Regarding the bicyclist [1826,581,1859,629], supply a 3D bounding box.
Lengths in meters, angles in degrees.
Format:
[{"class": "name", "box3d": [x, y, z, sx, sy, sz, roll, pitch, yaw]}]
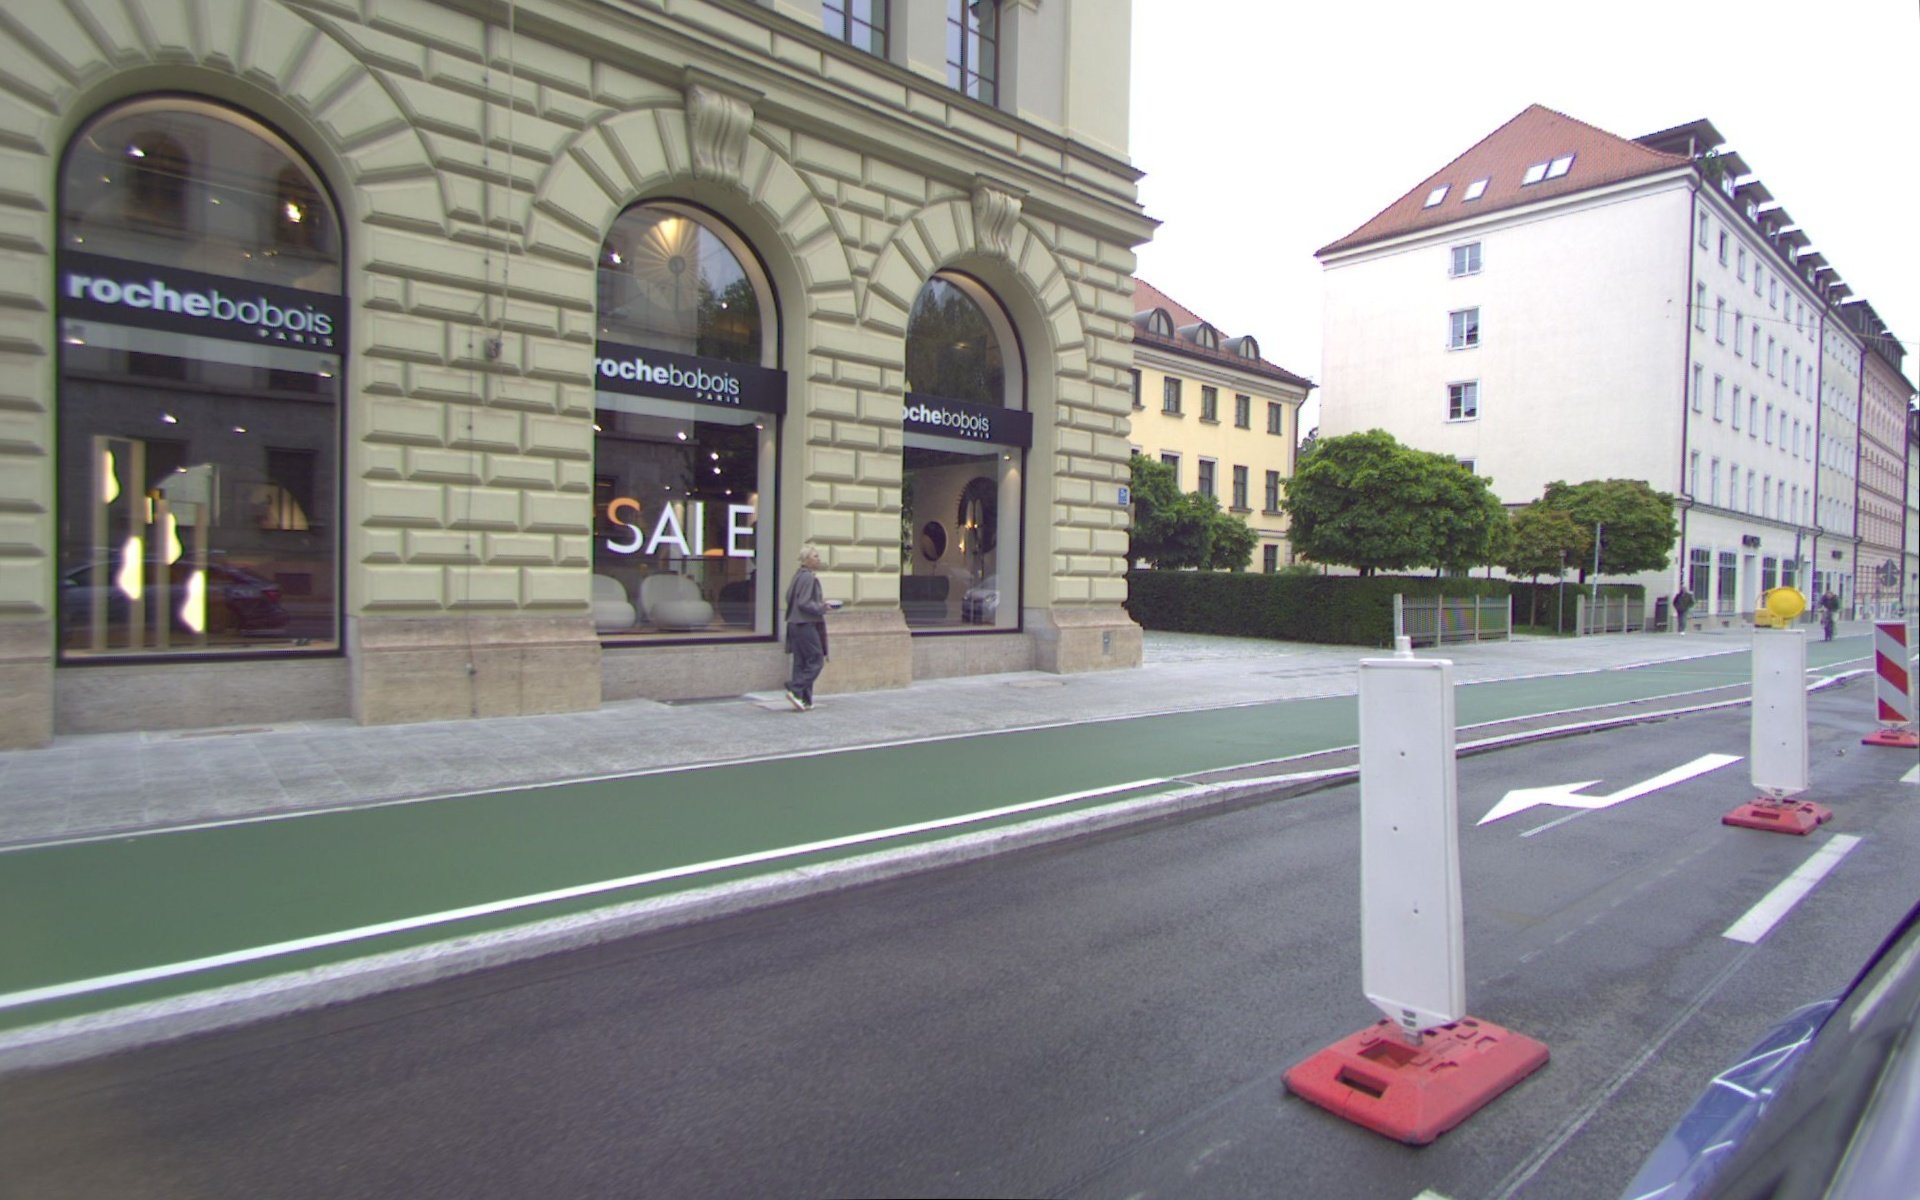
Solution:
[{"class": "bicyclist", "box3d": [29.301, 0.166, 33.606, 0.843, 1.572, 0.723, 0, 0, -41]}]

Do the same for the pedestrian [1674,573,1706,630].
[{"class": "pedestrian", "box3d": [25.022, 0.050, 34.696, 0.811, 1.897, 0.655, 0, 3, -41]}]

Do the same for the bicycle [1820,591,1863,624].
[{"class": "bicycle", "box3d": [29.207, 0.232, 33.524, 2.487, 1.045, 0.750, 0, 0, -41]}]

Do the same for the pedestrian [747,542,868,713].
[{"class": "pedestrian", "box3d": [-1.625, 0.264, 10.812, 1.067, 1.725, 0.633, 0, 2, -41]}]
